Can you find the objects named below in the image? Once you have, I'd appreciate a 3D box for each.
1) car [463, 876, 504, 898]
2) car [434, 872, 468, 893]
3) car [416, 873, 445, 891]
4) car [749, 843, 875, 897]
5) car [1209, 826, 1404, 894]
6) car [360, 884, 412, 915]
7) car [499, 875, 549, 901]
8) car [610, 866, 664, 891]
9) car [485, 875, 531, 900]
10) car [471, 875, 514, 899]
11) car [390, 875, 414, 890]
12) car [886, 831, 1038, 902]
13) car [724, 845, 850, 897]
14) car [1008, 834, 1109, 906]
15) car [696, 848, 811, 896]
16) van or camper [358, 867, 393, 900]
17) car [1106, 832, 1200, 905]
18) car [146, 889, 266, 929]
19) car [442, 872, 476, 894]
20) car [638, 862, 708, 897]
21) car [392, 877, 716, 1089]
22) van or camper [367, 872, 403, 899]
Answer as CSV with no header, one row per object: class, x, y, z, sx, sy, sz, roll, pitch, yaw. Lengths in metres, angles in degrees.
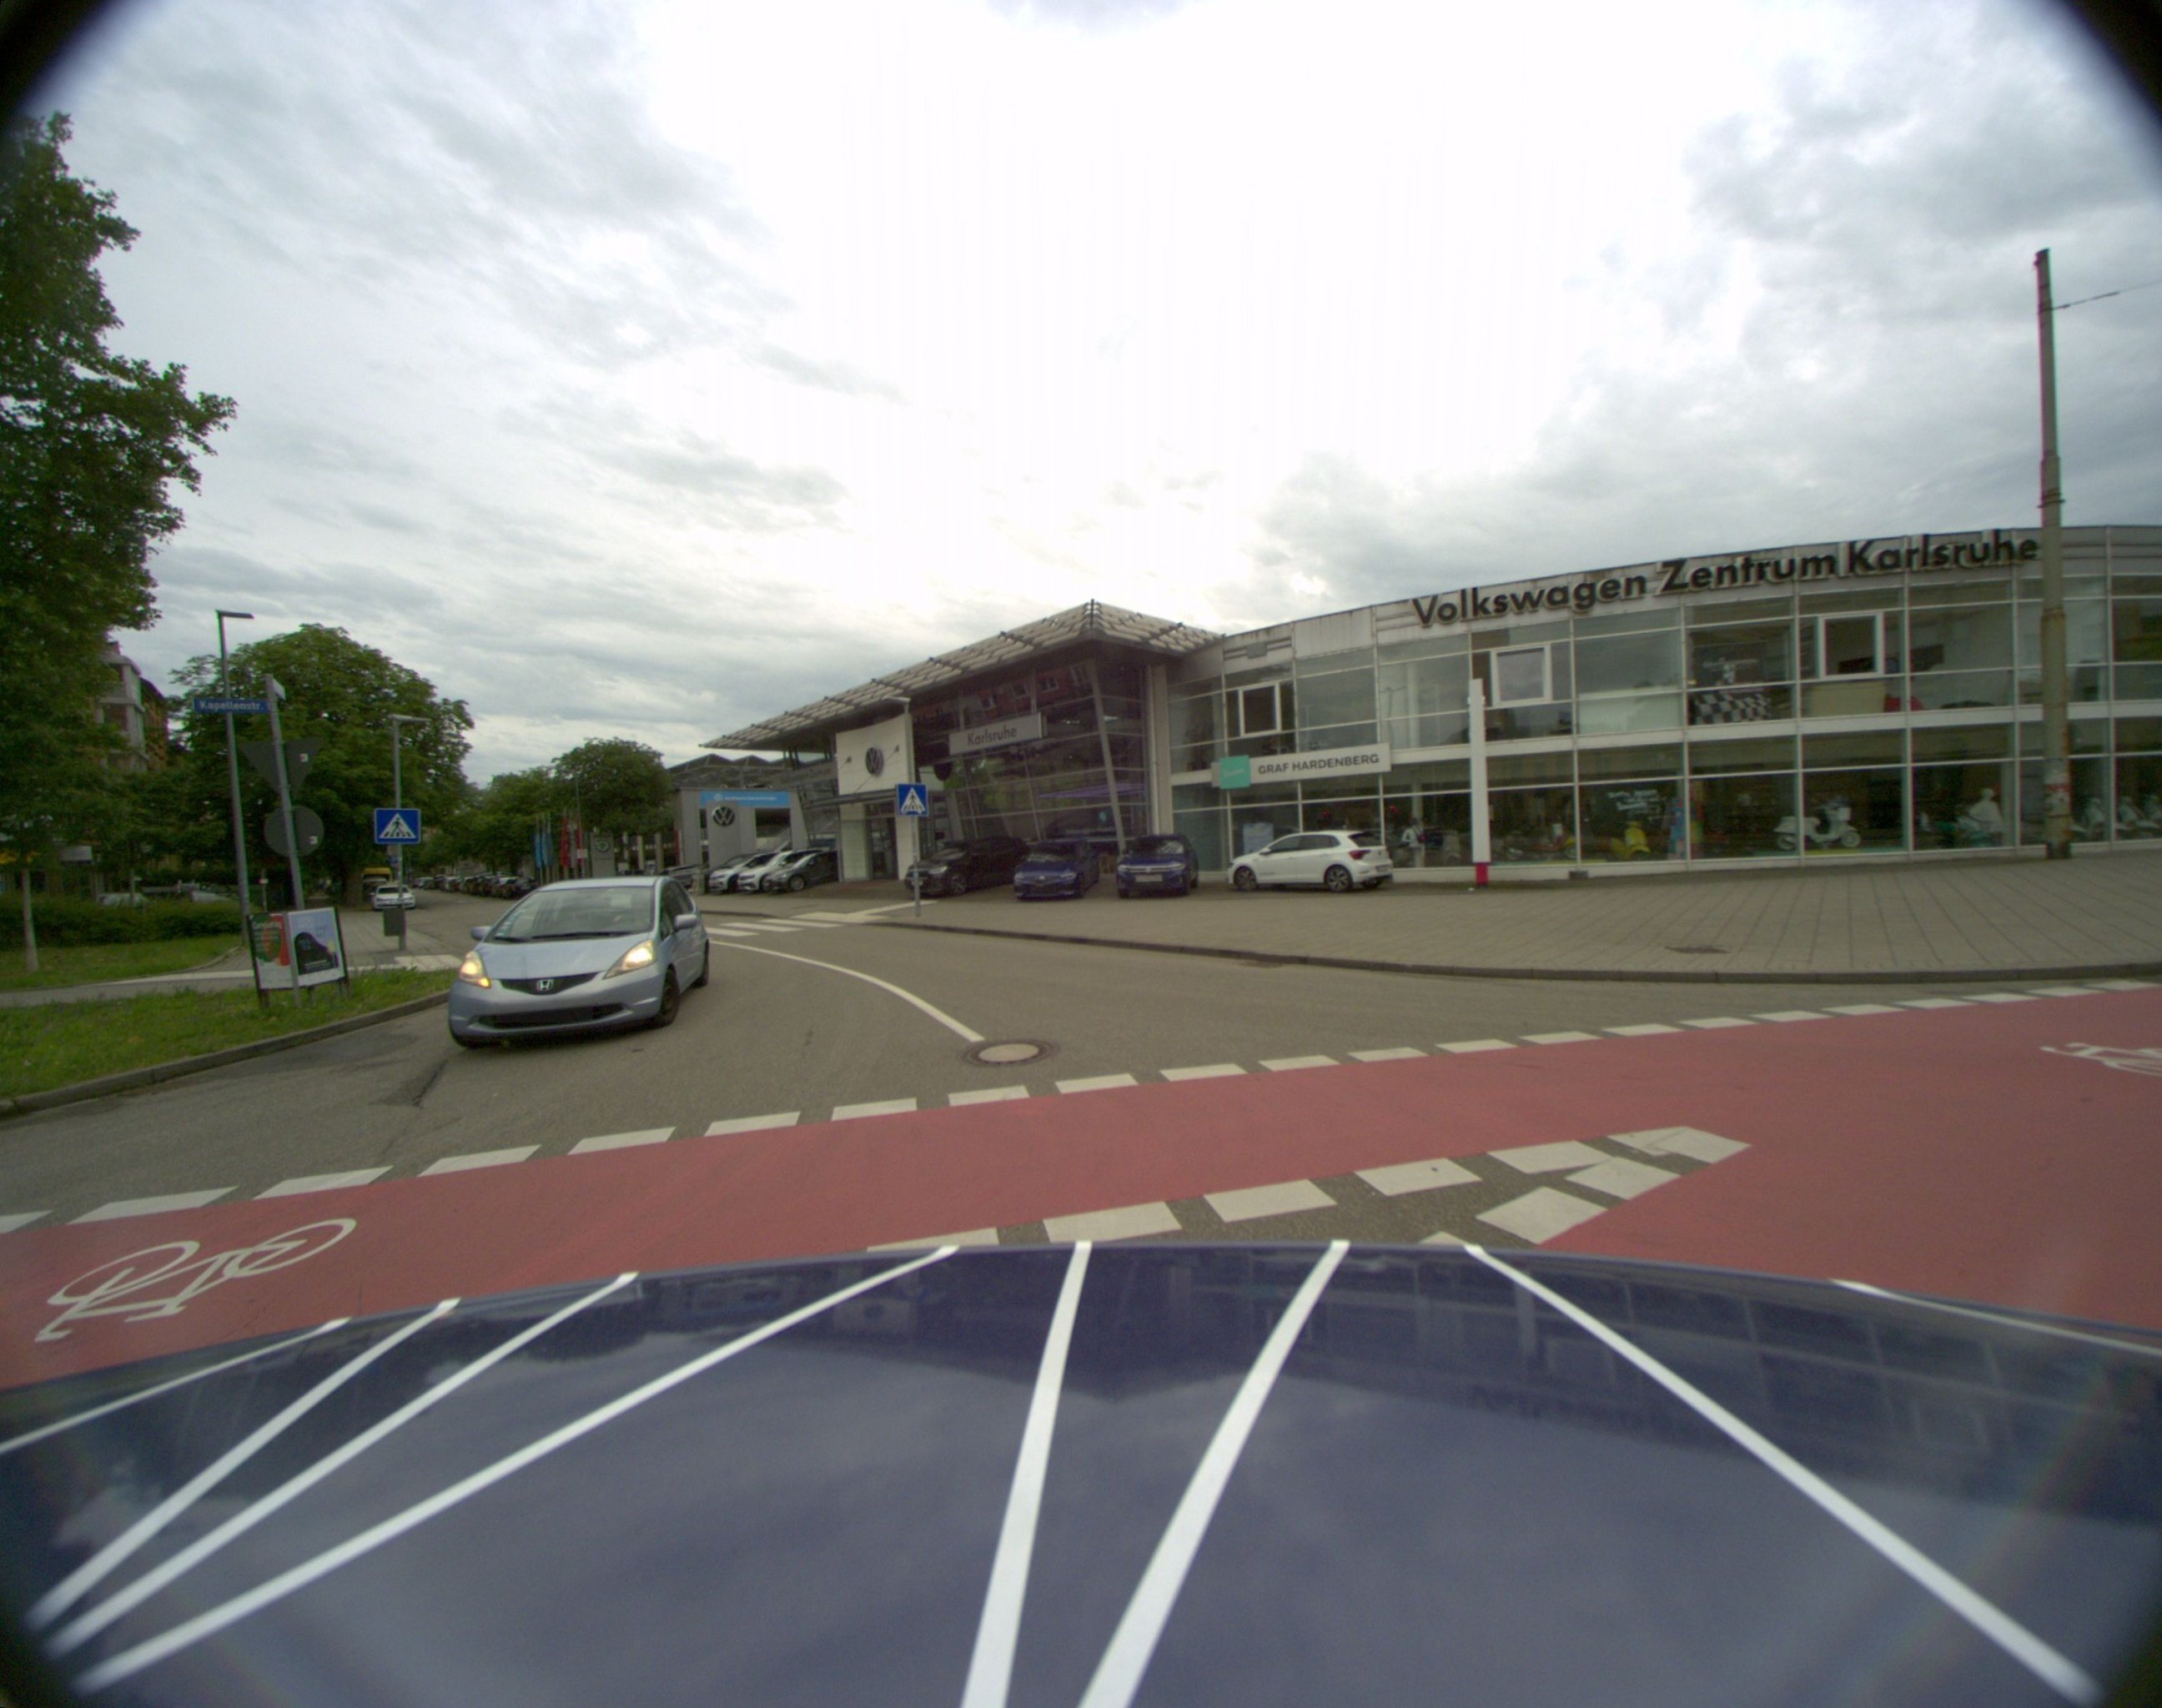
car,-50.263,2.715,63.914,4.463,1.615,1.864,-2,3,43
car,-66.662,3.048,80.365,4.770,1.975,2.026,-2,3,43
car,-81.503,3.519,95.172,4.770,1.975,2.026,-2,3,43
car,-11.348,0.633,32.275,1.892,1.688,4.481,-3,5,44
car,5.464,0.167,18.835,1.786,1.444,4.251,-4,1,-42
car,-39.397,2.537,43.033,4.463,1.539,1.865,-2,1,44
car,-38.767,2.331,52.832,4.463,1.615,1.864,-2,3,43
car,-30.561,1.683,52.260,4.463,1.539,1.902,-2,3,43
car,-42.934,2.467,56.905,4.463,1.615,1.864,-2,3,43
car,-46.833,2.609,60.392,4.463,1.615,1.864,-2,3,43
car,-101.058,4.289,113.041,4.770,1.975,2.026,-2,3,43
car,-3.667,0.349,24.170,1.856,1.624,4.515,-3,4,39
car,-13.182,0.722,34.287,1.856,1.690,4.781,-3,5,45
car,-0.497,0.364,21.356,1.855,1.496,4.339,-3,4,11
car,-15.541,0.816,36.218,4.481,1.690,1.865,-9,5,-44
van or camper,-61.805,2.568,66.519,2.003,2.756,3.989,-5,2,-44
car,2.016,0.292,20.099,1.898,1.554,4.222,-3,2,12
car,-39.603,2.489,34.405,4.466,1.539,1.863,-2,2,17
car,-62.540,2.908,76.380,4.463,1.975,1.864,-2,3,43
car,-21.730,1.373,40.407,4.004,1.555,1.923,-3,2,43
car,-5.279,1.100,8.299,1.756,1.458,4.091,-4,1,-19
van or camper,-58.402,2.627,63.736,2.003,2.002,3.989,-5,2,-44
